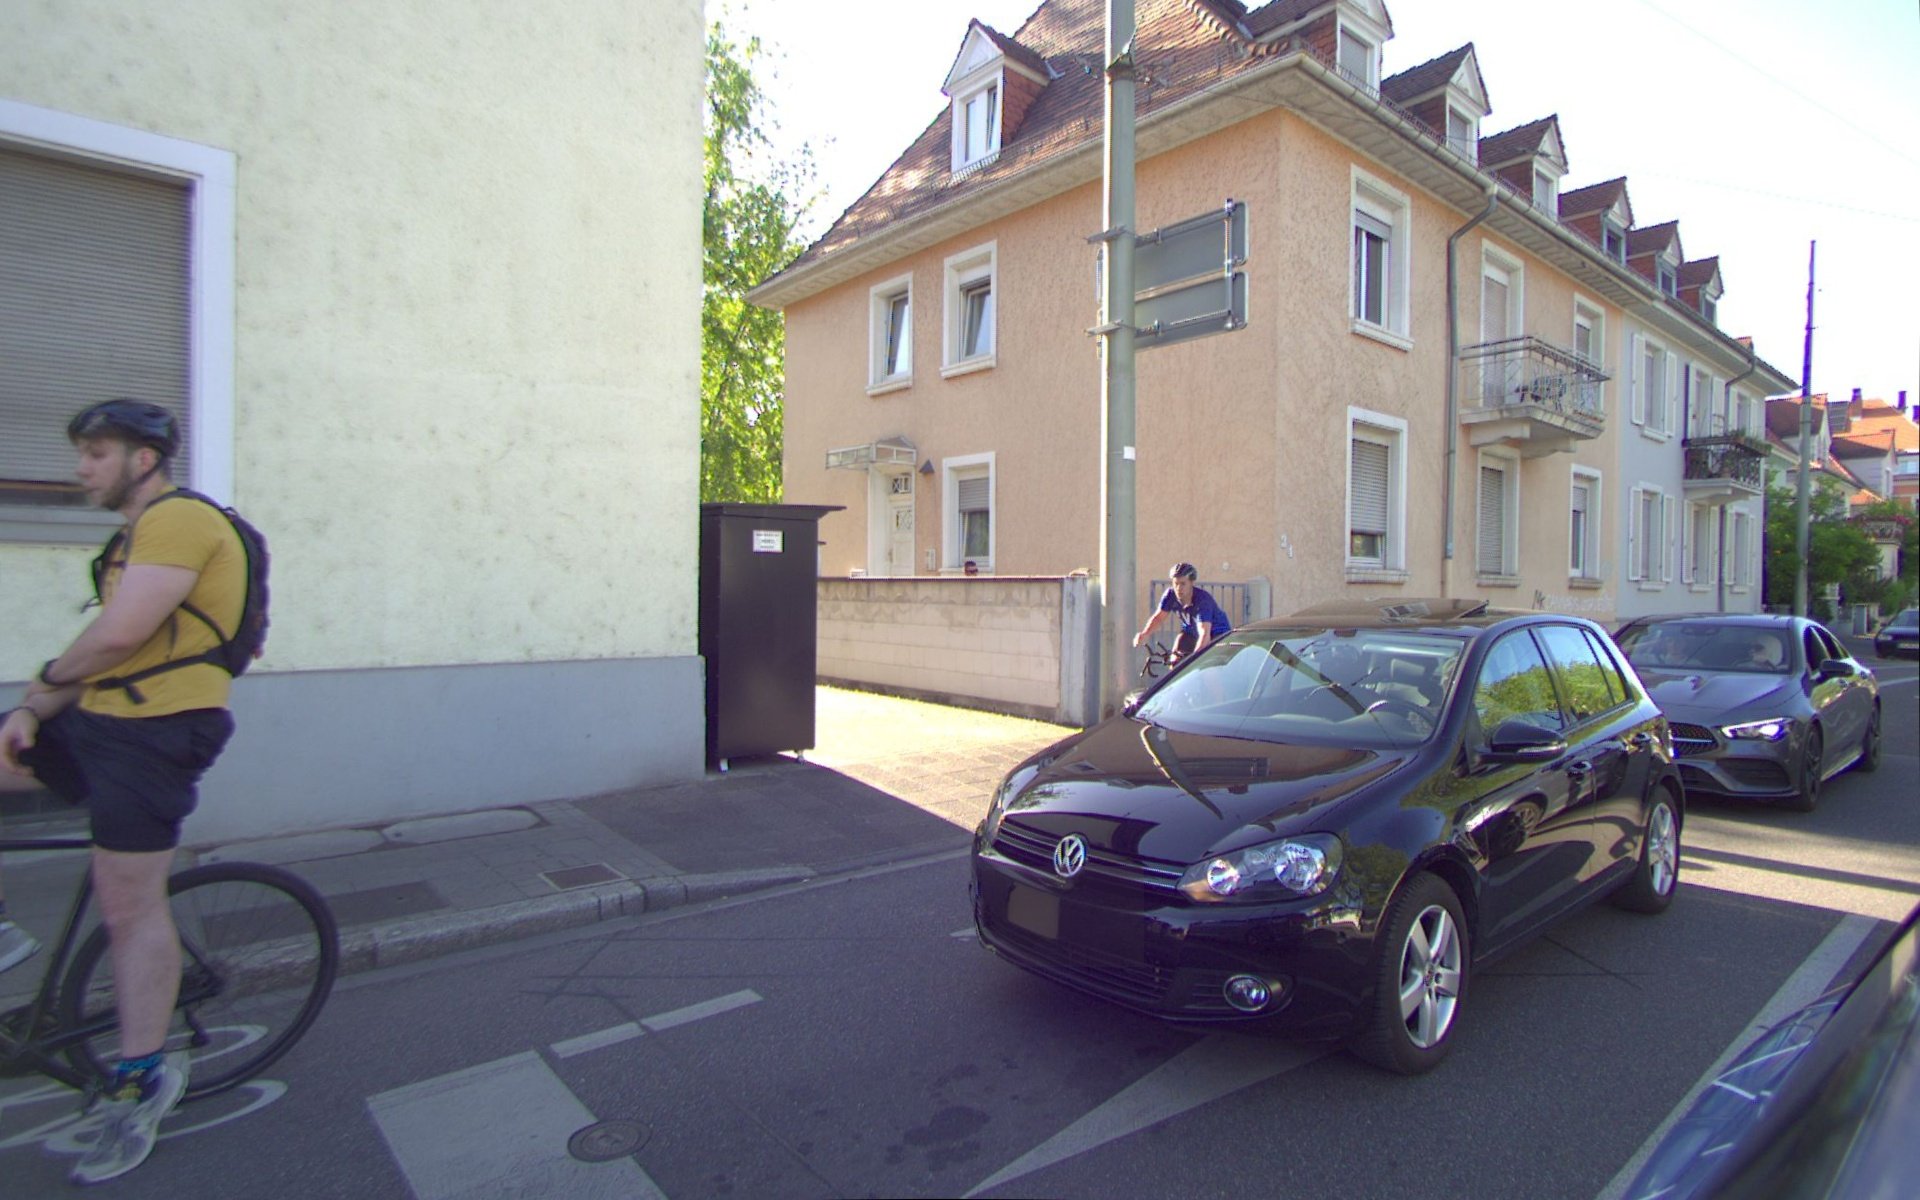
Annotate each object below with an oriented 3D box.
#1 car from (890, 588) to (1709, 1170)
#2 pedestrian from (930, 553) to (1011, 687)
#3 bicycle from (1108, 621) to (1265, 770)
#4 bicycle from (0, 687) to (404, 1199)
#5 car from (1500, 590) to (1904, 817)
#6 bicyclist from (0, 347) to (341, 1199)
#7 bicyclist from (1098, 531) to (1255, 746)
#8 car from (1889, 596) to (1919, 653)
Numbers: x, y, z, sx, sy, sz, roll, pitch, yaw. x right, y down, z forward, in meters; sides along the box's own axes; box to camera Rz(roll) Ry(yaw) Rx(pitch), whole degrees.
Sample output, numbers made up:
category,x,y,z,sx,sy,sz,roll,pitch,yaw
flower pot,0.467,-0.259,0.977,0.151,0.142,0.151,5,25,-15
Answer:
category,x,y,z,sx,sy,sz,roll,pitch,yaw
car,1.766,0.686,4.499,3.921,1.456,1.716,-1,0,-41
pedestrian,0.129,0.237,13.162,0.600,1.624,0.760,0,6,-43
bicycle,1.987,0.774,8.754,0.554,1.088,1.601,6,4,42
bicycle,-2.497,0.867,2.595,0.777,1.120,1.720,0,0,36
car,6.484,0.687,8.643,4.410,1.449,1.824,1,0,-40
bicyclist,-2.289,0.421,2.772,0.777,1.991,0.768,0,0,36
bicyclist,1.884,0.294,8.846,1.018,1.714,0.718,6,4,42
car,26.759,0.625,27.425,4.258,1.448,1.824,-1,0,-40
